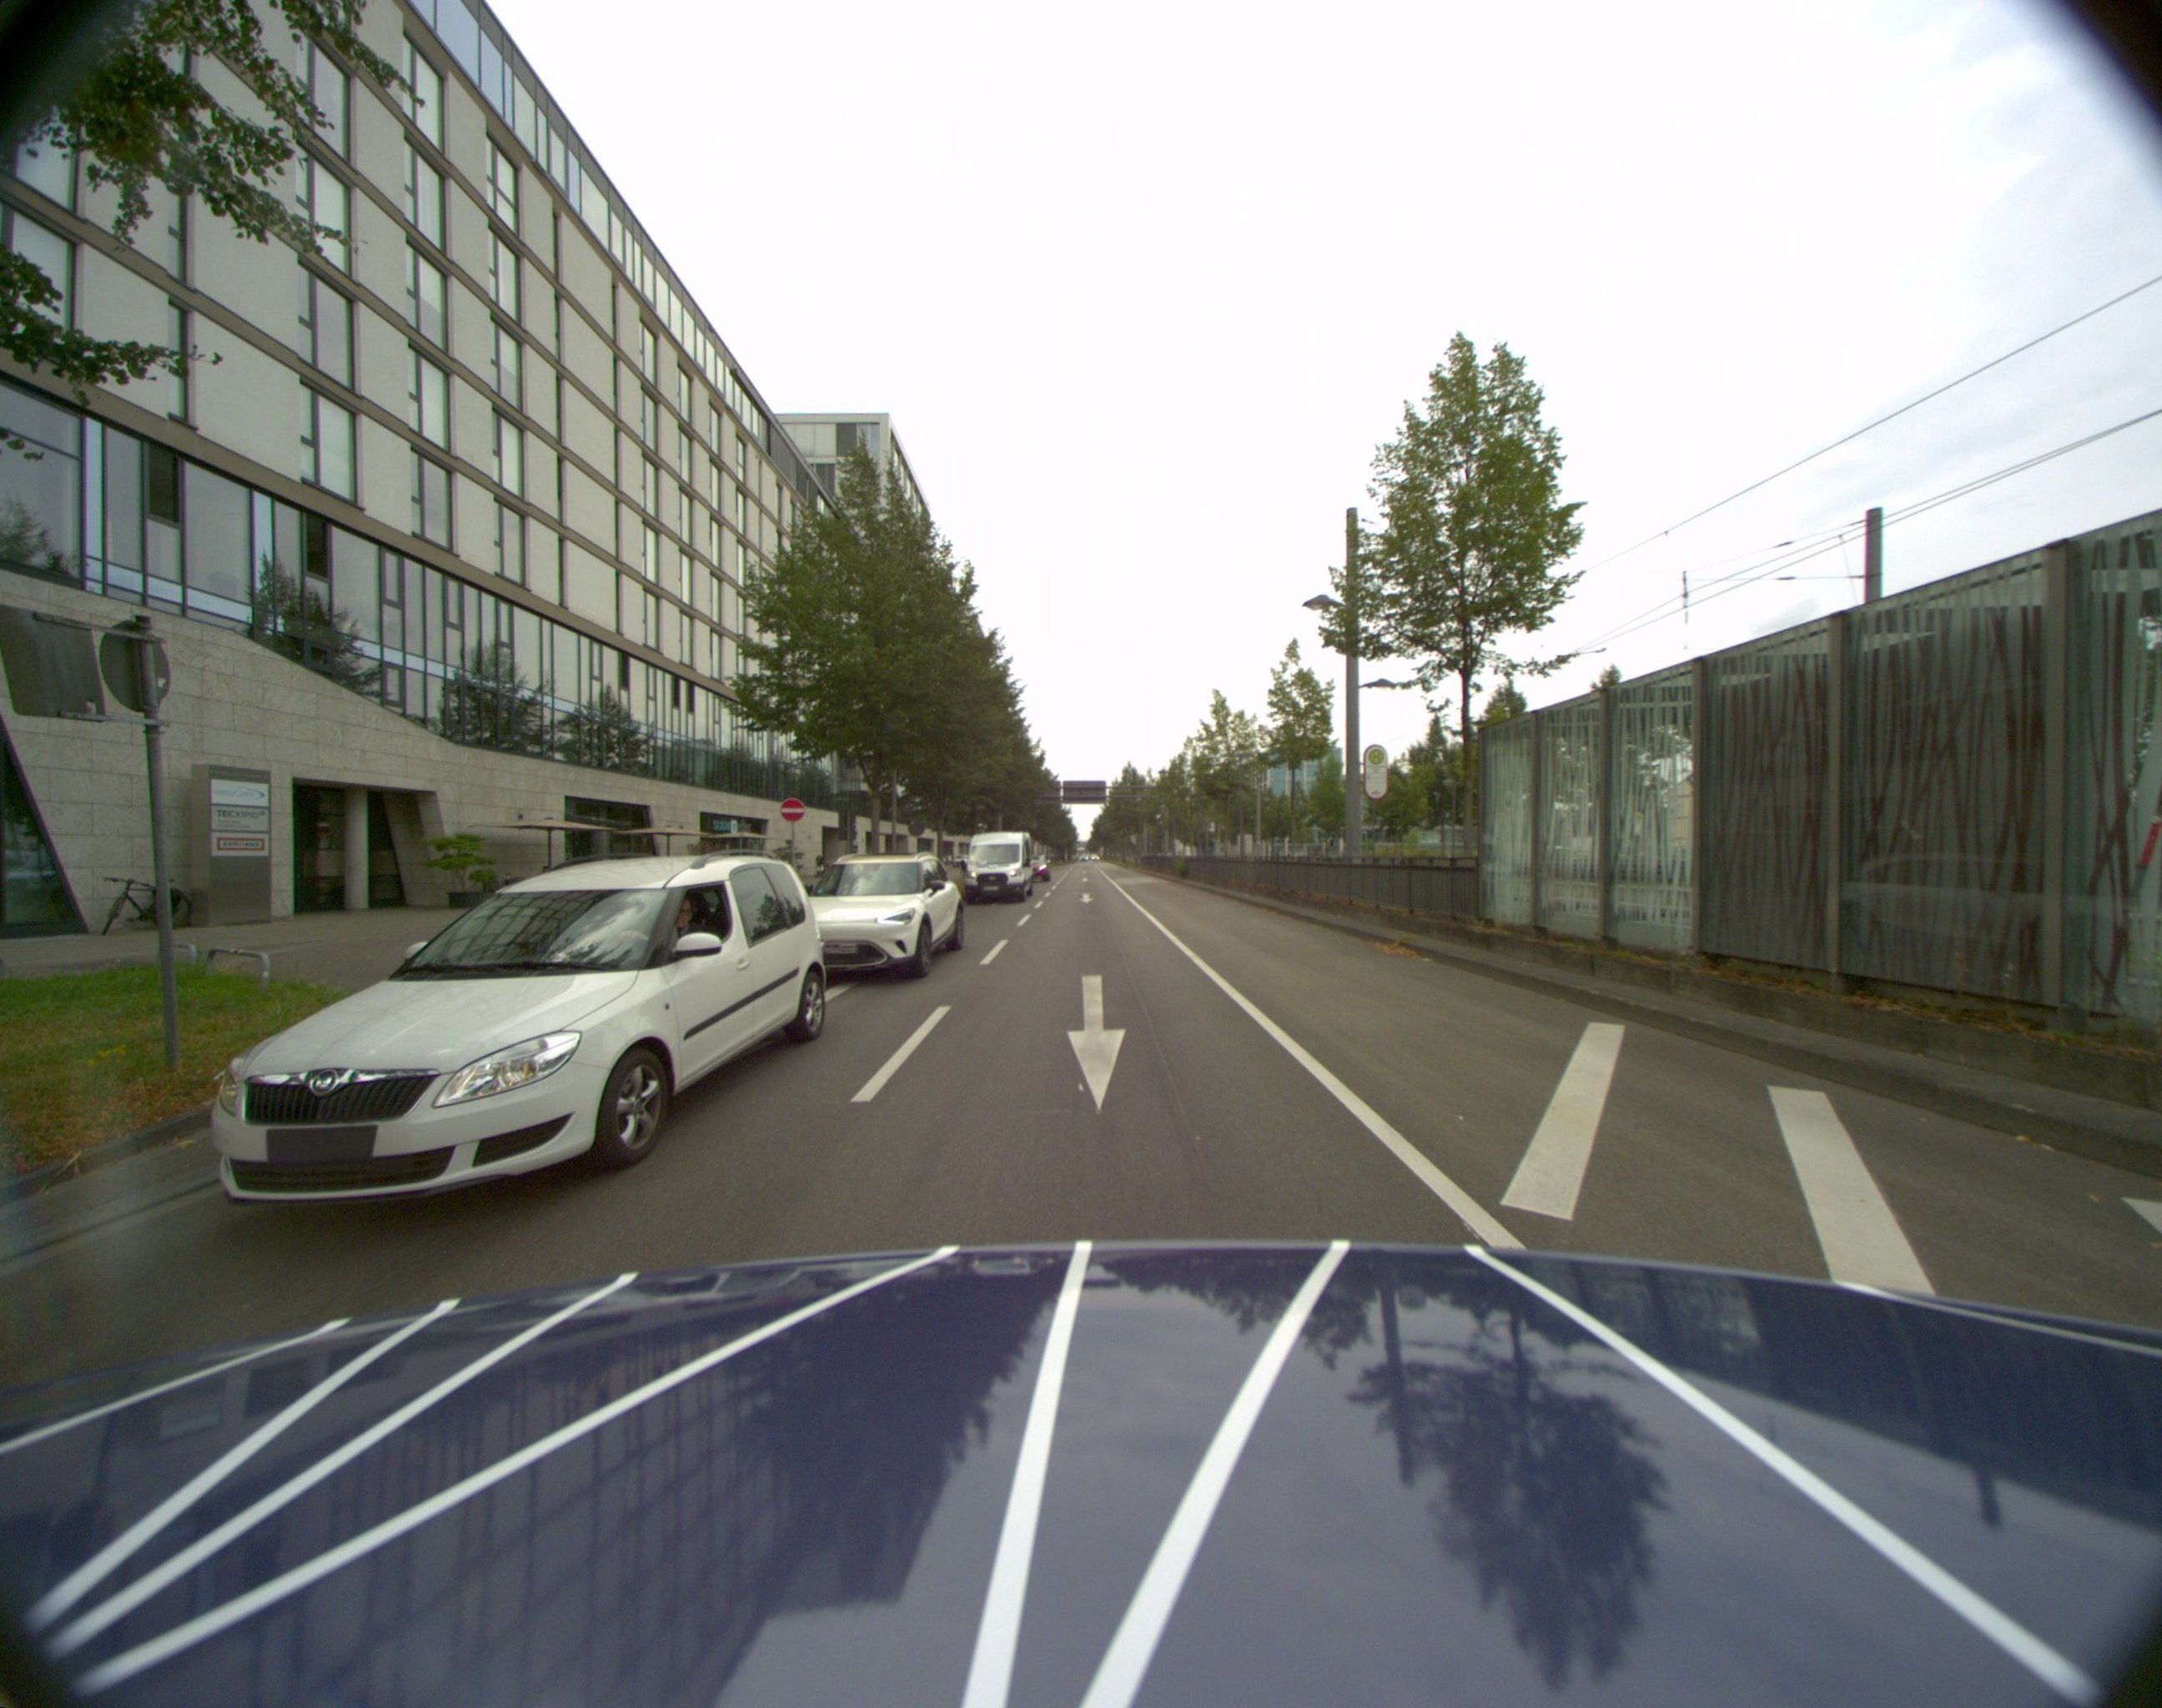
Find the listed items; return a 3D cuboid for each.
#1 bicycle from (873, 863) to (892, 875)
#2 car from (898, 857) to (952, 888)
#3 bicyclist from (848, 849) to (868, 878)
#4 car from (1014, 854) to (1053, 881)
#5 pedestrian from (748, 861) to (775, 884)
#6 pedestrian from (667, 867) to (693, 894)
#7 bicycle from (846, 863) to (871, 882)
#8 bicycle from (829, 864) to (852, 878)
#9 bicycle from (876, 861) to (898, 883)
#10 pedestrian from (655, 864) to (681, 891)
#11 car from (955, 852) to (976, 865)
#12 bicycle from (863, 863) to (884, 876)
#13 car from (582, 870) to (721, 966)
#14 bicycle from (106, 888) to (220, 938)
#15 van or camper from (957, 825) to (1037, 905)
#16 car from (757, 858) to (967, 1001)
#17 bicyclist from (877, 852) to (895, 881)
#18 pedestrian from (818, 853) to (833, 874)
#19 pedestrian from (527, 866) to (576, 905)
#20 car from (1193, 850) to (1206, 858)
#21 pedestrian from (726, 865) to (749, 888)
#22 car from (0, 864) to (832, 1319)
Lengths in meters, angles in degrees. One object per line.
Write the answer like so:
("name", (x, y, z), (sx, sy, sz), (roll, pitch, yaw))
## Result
("bicycle", (-17.589, 1.321, 67.200), (1.533, 1.020, 0.533), (0, 0, -3))
("car", (-8.247, 0.948, 40.589), (1.943, 1.543, 4.593), (-1, 0, 0))
("bicyclist", (-12.324, 0.518, 41.980), (0.726, 1.573, 0.990), (1, 1, 4))
("car", (-2.792, 0.776, 45.420), (1.973, 1.528, 4.139), (0, 0, 1))
("pedestrian", (-17.318, 0.989, 41.191), (0.773, 1.185, 1.107), (0, 0, 15))
("pedestrian", (-18.130, 1.182, 34.377), (0.720, 1.185, 0.759), (0, 0, 2))
("bicycle", (-12.330, 1.021, 42.116), (0.675, 1.036, 2.008), (0, 0, 3))
("bicycle", (-17.715, 1.220, 55.977), (1.605, 1.020, 0.609), (0, 0, -27))
("bicycle", (-10.662, 0.983, 41.745), (0.675, 1.136, 2.007), (1, -1, -1))
("pedestrian", (-18.148, 1.030, 33.399), (0.720, 1.185, 0.759), (0, 0, 0))
("car", (-14.347, 0.535, 94.830), (1.862, 1.579, 4.240), (2, 0, 0))
("bicycle", (-17.253, 1.270, 63.207), (1.602, 1.020, 0.533), (0, 0, -3))
("car", (-8.544, 1.091, 14.882), (1.951, 1.467, 4.858), (-1, 0, -34))
("bicycle", (-18.792, 1.184, 15.597), (0.519, 0.905, 1.493), (0, 0, 1))
("van or camper", (-2.886, 0.366, 27.722), (2.184, 2.493, 6.339), (-2, 0, 0))
("car", (-2.872, 0.899, 10.928), (1.783, 1.647, 4.023), (0, 0, 1))
("bicyclist", (-10.684, 0.687, 41.712), (0.726, 1.573, 0.989), (1, 1, -2))
("pedestrian", (-17.556, 0.669, 52.244), (0.758, 1.398, 0.721), (0, 0, 8))
("pedestrian", (-17.113, 1.009, 24.577), (0.899, 1.221, 0.950), (0, 0, 5))
("car", (24.155, 0.040, 155.230), (1.832, 1.646, 4.691), (-2, 0, -2))
("pedestrian", (-17.990, 1.168, 39.801), (0.719, 1.185, 0.760), (0, 0, 22))
("car", (-3.174, 0.915, 4.845), (1.783, 1.647, 4.023), (0, 0, 1))
